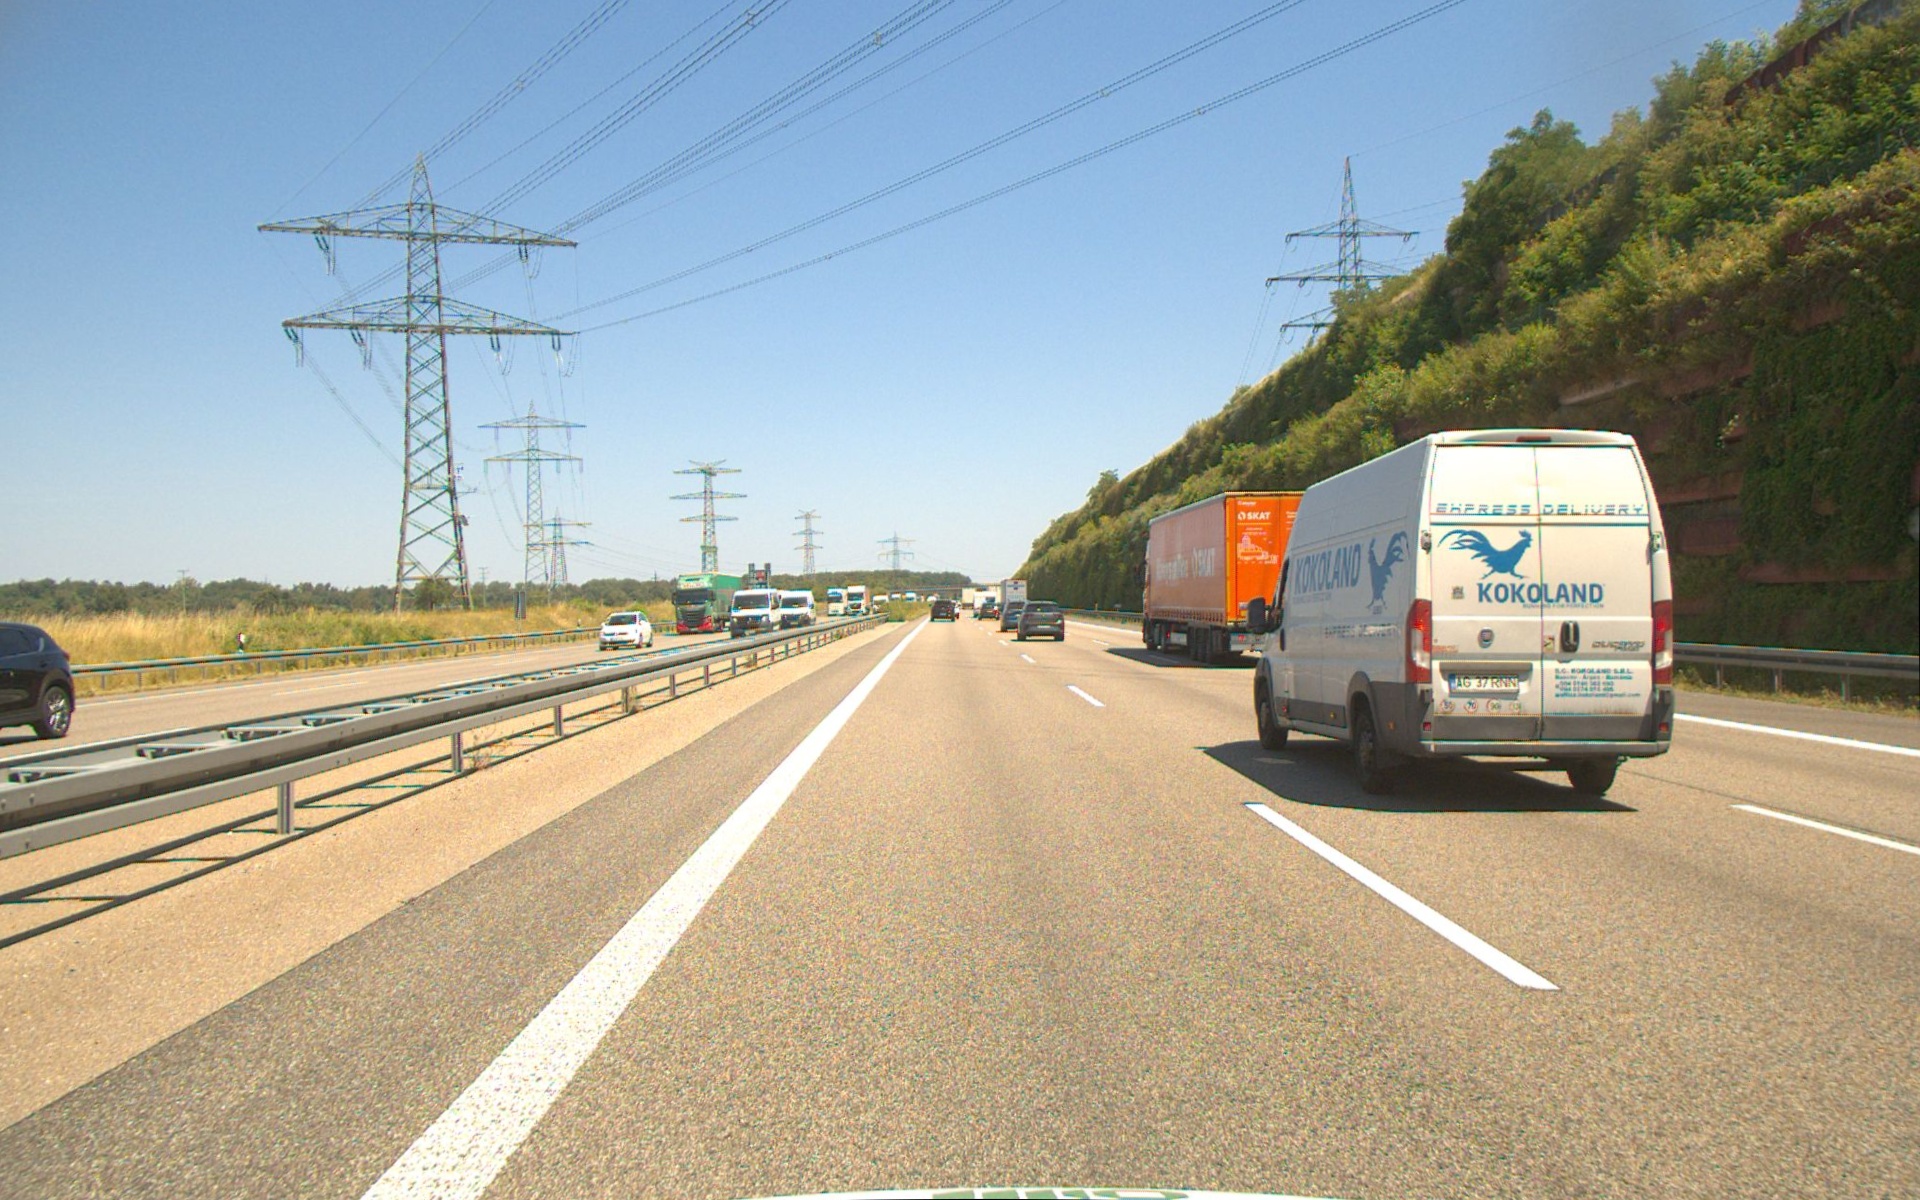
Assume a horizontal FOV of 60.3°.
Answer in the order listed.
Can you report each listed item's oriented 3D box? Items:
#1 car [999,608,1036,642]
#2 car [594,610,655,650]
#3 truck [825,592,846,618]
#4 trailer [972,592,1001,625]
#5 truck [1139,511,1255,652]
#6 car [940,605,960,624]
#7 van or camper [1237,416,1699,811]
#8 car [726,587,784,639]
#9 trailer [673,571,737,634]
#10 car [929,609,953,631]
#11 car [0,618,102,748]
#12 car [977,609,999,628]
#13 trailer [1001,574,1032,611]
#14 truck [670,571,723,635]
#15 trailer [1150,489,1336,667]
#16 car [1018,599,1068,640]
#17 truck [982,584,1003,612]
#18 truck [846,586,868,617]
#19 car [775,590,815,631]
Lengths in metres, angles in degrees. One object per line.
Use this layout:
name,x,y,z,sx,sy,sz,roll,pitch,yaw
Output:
car,2.971,1.285,86.263,1.757,1.682,4.137,0,0,0
car,-14.323,1.263,70.857,1.673,1.550,4.513,-3,0,-1
truck,-18.960,0.756,253.043,2.777,3.816,6.847,-2,0,-1
trailer,2.633,0.863,167.892,2.557,3.269,9.951,-1,0,-1
truck,7.201,-0.533,50.989,2.564,4.062,6.525,0,0,-1
car,-0.895,1.317,152.104,1.792,1.700,3.999,-1,0,-1
van or camper,4.207,0.094,15.228,2.054,2.817,6.755,0,0,-1
car,-9.812,0.612,79.680,2.066,2.338,6.705,-2,0,-1
trailer,-18.225,0.174,119.179,2.615,4.156,13.913,-1,0,-1
car,-1.520,1.598,132.721,1.792,1.700,3.999,-1,0,-1
car,-13.422,1.148,21.865,1.803,1.658,4.413,-4,0,-1
car,2.418,1.572,142.682,1.792,1.552,4.000,-1,0,0
trailer,6.666,-0.888,197.035,3.118,4.193,13.430,-1,0,0
truck,-18.125,0.186,114.113,2.644,4.207,6.579,-1,0,-1
trailer,7.253,-0.493,44.601,2.591,4.075,13.604,0,0,0
car,3.292,0.762,66.250,1.713,1.552,3.994,-1,0,-1
truck,5.158,-0.279,263.111,3.055,4.355,11.932,-1,0,0
truck,-14.698,0.220,236.377,2.547,4.285,5.909,-2,0,0
car,-10.485,0.657,105.733,2.006,2.481,6.067,-2,0,-1
